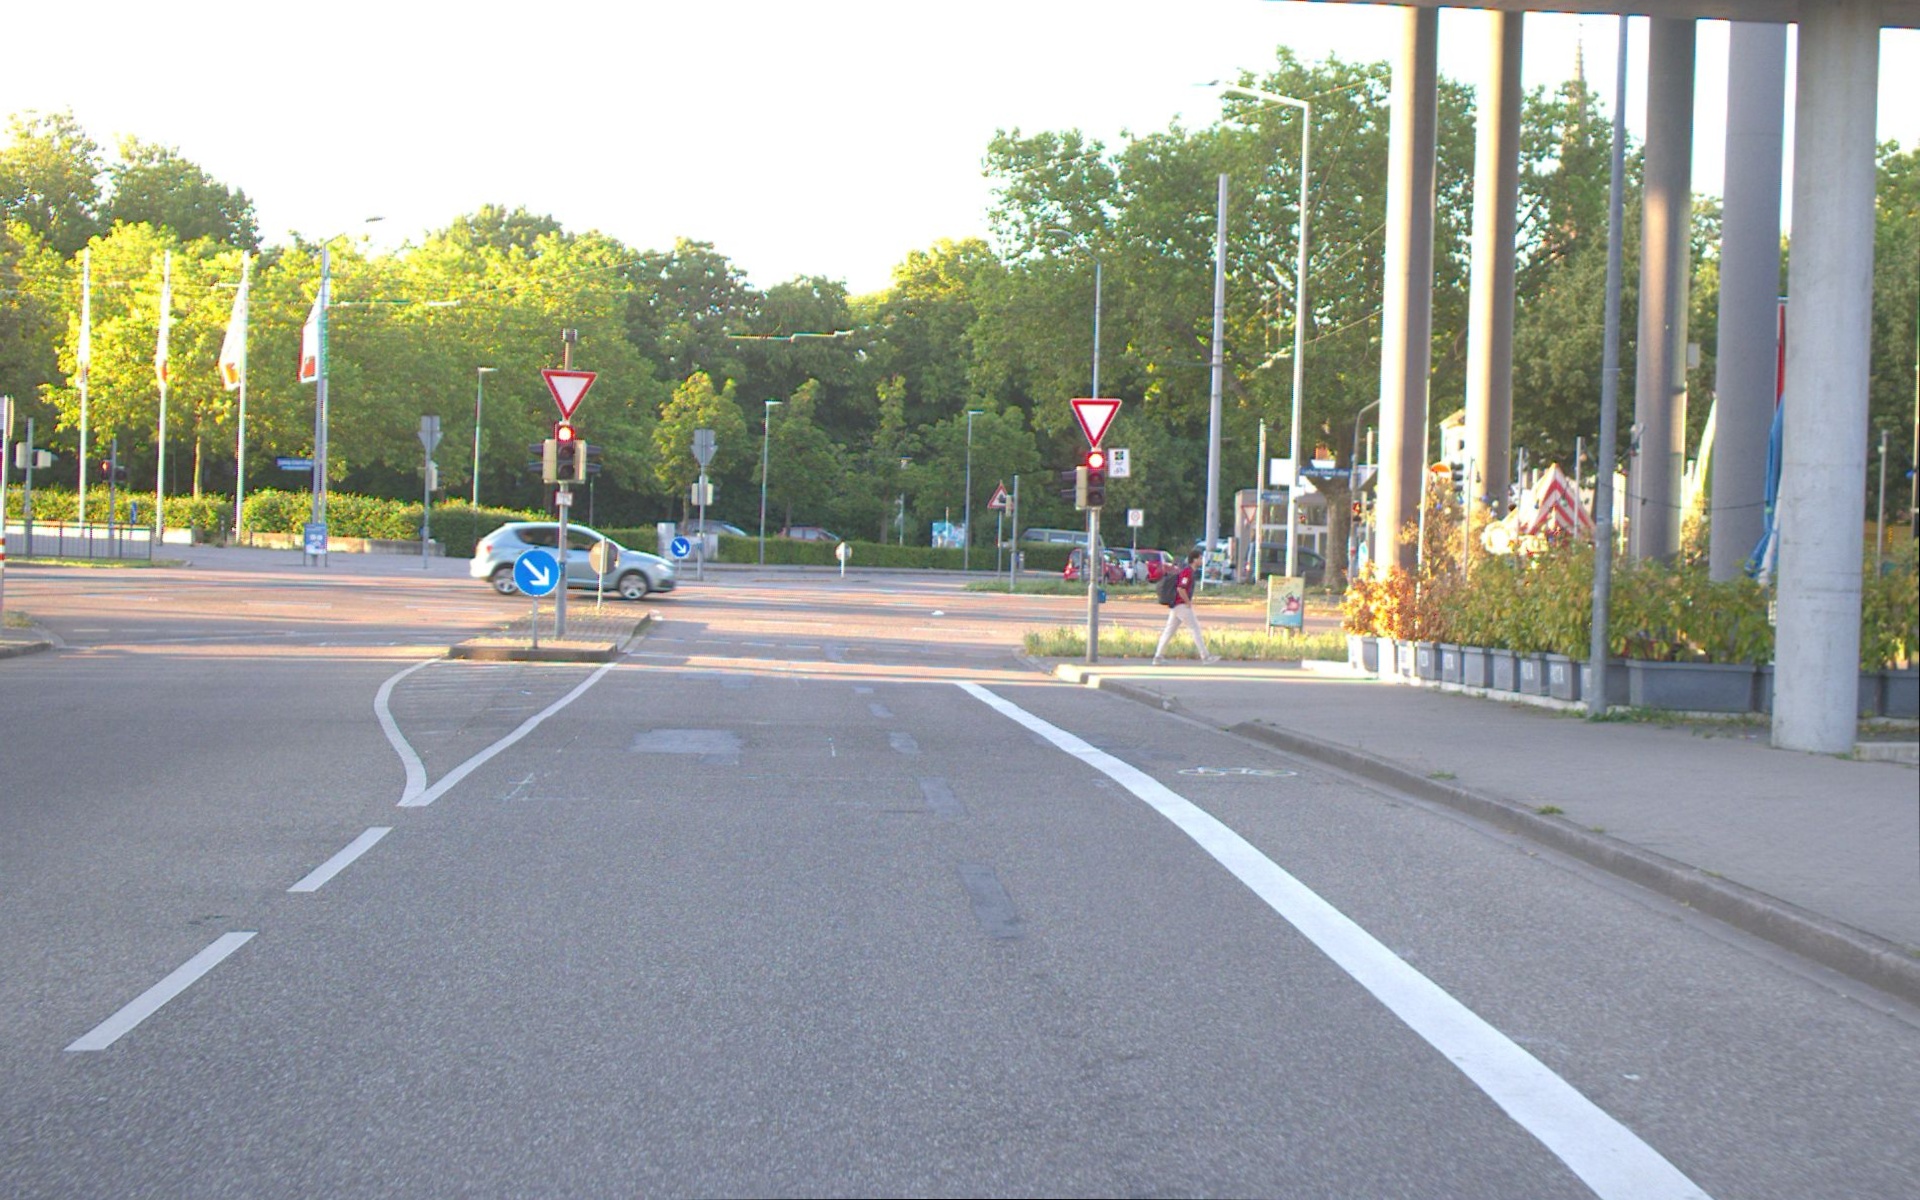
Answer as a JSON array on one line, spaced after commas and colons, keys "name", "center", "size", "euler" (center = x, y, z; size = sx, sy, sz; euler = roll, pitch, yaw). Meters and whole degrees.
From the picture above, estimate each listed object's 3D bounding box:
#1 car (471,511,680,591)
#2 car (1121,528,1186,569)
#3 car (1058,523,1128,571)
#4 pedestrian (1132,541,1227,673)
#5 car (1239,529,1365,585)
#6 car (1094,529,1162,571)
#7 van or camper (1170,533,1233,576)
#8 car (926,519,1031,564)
[{"name": "car", "center": [-7.605, -0.975, 68.194], "size": [4.022, 1.414, 1.603], "euler": [2, 2, -4]}, {"name": "car", "center": [7.889, -2.106, 139.858], "size": [1.499, 1.600, 3.399], "euler": [3, 3, 24]}, {"name": "car", "center": [5.132, -2.042, 132.498], "size": [1.499, 1.754, 3.399], "euler": [3, 2, 24]}, {"name": "pedestrian", "center": [3.140, 0.096, 49.272], "size": [1.053, 1.827, 0.896], "euler": [1, 2, -15]}, {"name": "car", "center": [12.509, -1.582, 125.908], "size": [4.467, 1.810, 1.945], "euler": [2, 2, 3]}, {"name": "car", "center": [6.662, -1.993, 136.098], "size": [1.499, 1.600, 3.399], "euler": [3, 3, 24]}, {"name": "van or camper", "center": [11.834, -2.238, 168.182], "size": [1.627, 1.975, 3.801], "euler": [3, 3, 28]}, {"name": "car", "center": [0.882, -2.714, 159.294], "size": [4.685, 1.862, 2.013], "euler": [2, 2, 4]}]
